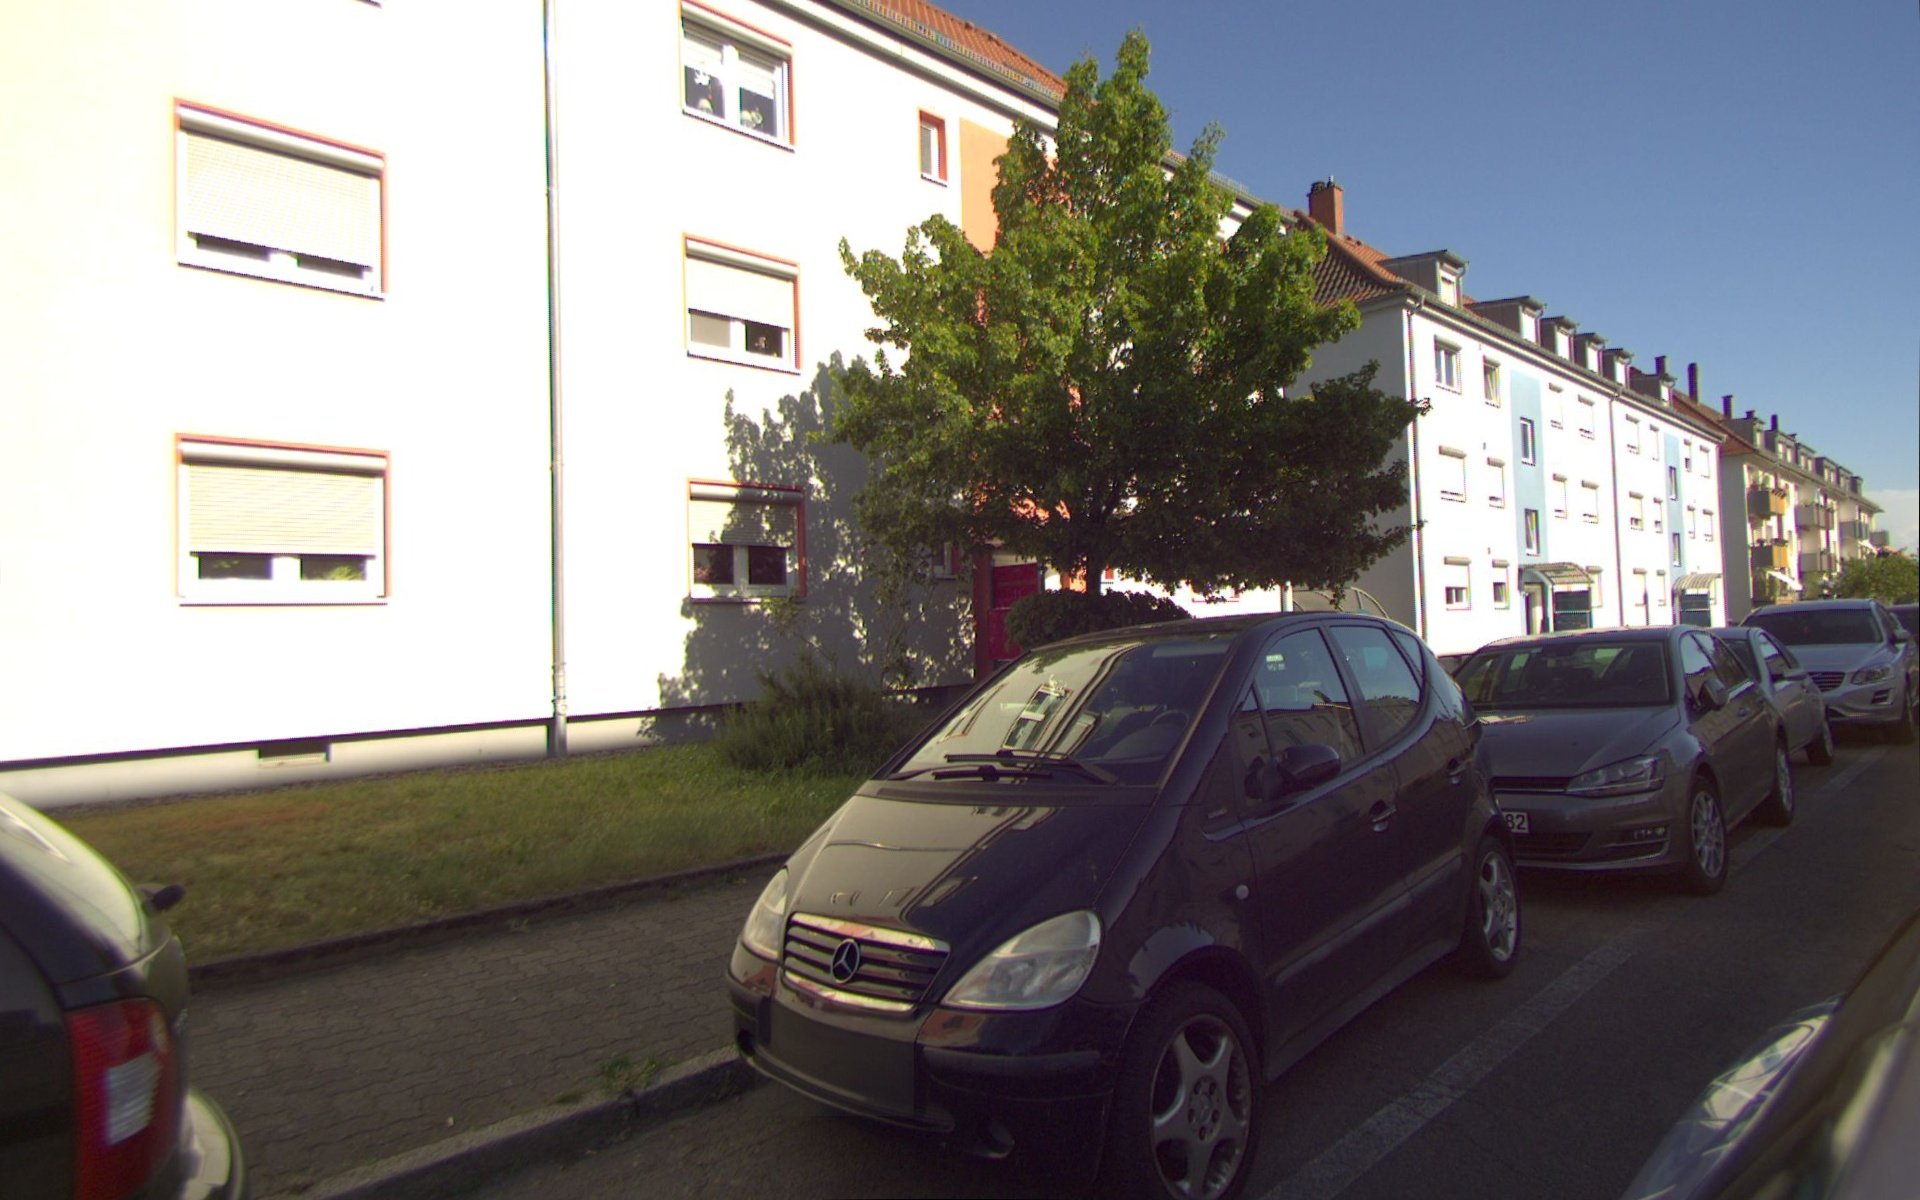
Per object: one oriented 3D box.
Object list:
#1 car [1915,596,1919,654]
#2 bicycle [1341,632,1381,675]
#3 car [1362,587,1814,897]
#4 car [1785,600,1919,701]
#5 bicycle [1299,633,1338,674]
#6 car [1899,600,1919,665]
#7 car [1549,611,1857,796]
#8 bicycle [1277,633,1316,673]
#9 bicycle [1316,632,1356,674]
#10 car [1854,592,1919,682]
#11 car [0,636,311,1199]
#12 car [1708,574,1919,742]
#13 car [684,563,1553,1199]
[{"bbox_3d":[28.406,0.649,28.608,3.809,1.591,1.706,0,-2,-42],"label":"car"},{"bbox_3d":[9.642,1.274,24.314,1.260,0.958,0.319,0,-1,-40],"label":"bicycle"},{"bbox_3d":[4.382,0.779,6.797,3.887,1.470,1.628,1,-7,-45],"label":"car"},{"bbox_3d":[15.010,0.793,16.641,3.792,1.468,1.618,0,-5,-43],"label":"car"},{"bbox_3d":[8.981,1.322,25.319,1.260,0.958,0.319,0,-1,-40],"label":"bicycle"},{"bbox_3d":[24.773,0.743,25.140,3.809,1.545,1.706,0,-3,-42],"label":"car"},{"bbox_3d":[7.185,0.855,9.685,3.428,1.412,1.630,0,-3,-41],"label":"car"},{"bbox_3d":[8.541,1.328,25.657,1.260,0.958,0.319,0,-1,-40],"label":"bicycle"},{"bbox_3d":[9.244,1.293,24.886,1.260,0.958,0.319,0,-1,-40],"label":"bicycle"},{"bbox_3d":[18.969,0.662,19.764,4.347,1.627,1.729,0,-2,-42],"label":"car"},{"bbox_3d":[-2.792,0.801,0.715,3.725,1.435,1.574,0,-1,-44],"label":"car"},{"bbox_3d":[10.930,0.669,12.617,4.236,1.742,1.775,0,-5,-44],"label":"car"},{"bbox_3d":[0.919,0.747,4.021,1.617,1.571,3.553,-5,-3,44],"label":"car"}]
